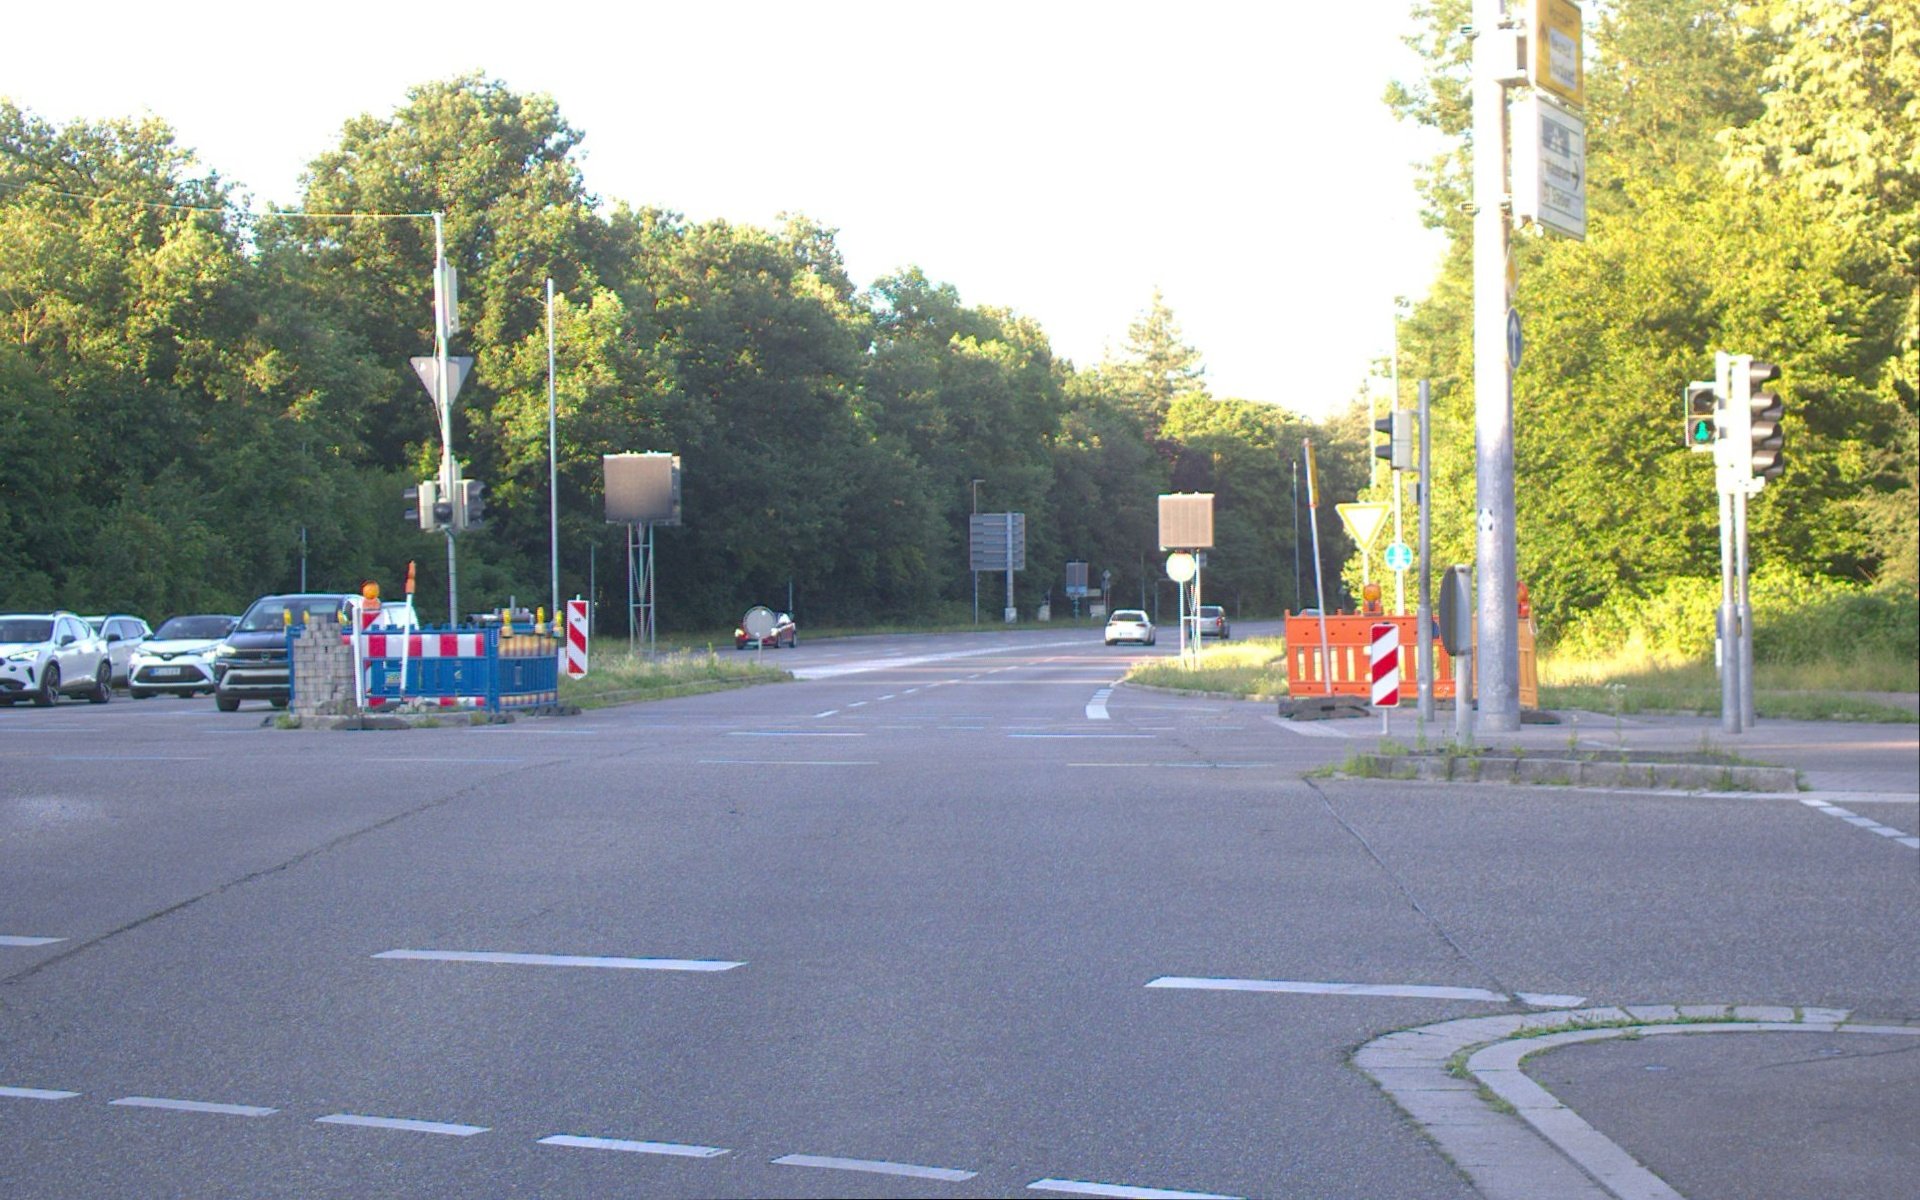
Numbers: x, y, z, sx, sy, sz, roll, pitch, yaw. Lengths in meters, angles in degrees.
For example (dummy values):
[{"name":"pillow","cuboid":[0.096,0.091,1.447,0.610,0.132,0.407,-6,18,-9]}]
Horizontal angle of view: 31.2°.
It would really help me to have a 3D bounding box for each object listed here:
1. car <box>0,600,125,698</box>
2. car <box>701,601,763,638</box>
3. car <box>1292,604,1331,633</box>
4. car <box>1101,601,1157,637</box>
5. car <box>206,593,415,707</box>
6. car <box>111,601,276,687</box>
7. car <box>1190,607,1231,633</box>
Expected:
[{"name":"car","cuboid":[-14.759,0.755,54.391,1.716,1.451,4.232,-1,0,5]},{"name":"car","cuboid":[-9.040,0.771,136.596,1.878,1.417,4.232,-1,0,4]},{"name":"car","cuboid":[19.676,1.027,192.369,1.578,1.529,3.675,0,0,16]},{"name":"car","cuboid":[6.801,0.757,138.330,1.548,1.343,3.112,-1,0,17]},{"name":"car","cuboid":[-8.881,0.653,47.325,1.716,1.451,4.232,-1,0,5]},{"name":"car","cuboid":[-13.878,0.772,62.483,1.716,1.451,4.232,-1,0,5]},{"name":"car","cuboid":[12.275,0.972,168.147,1.457,1.240,2.962,-1,0,15]}]
